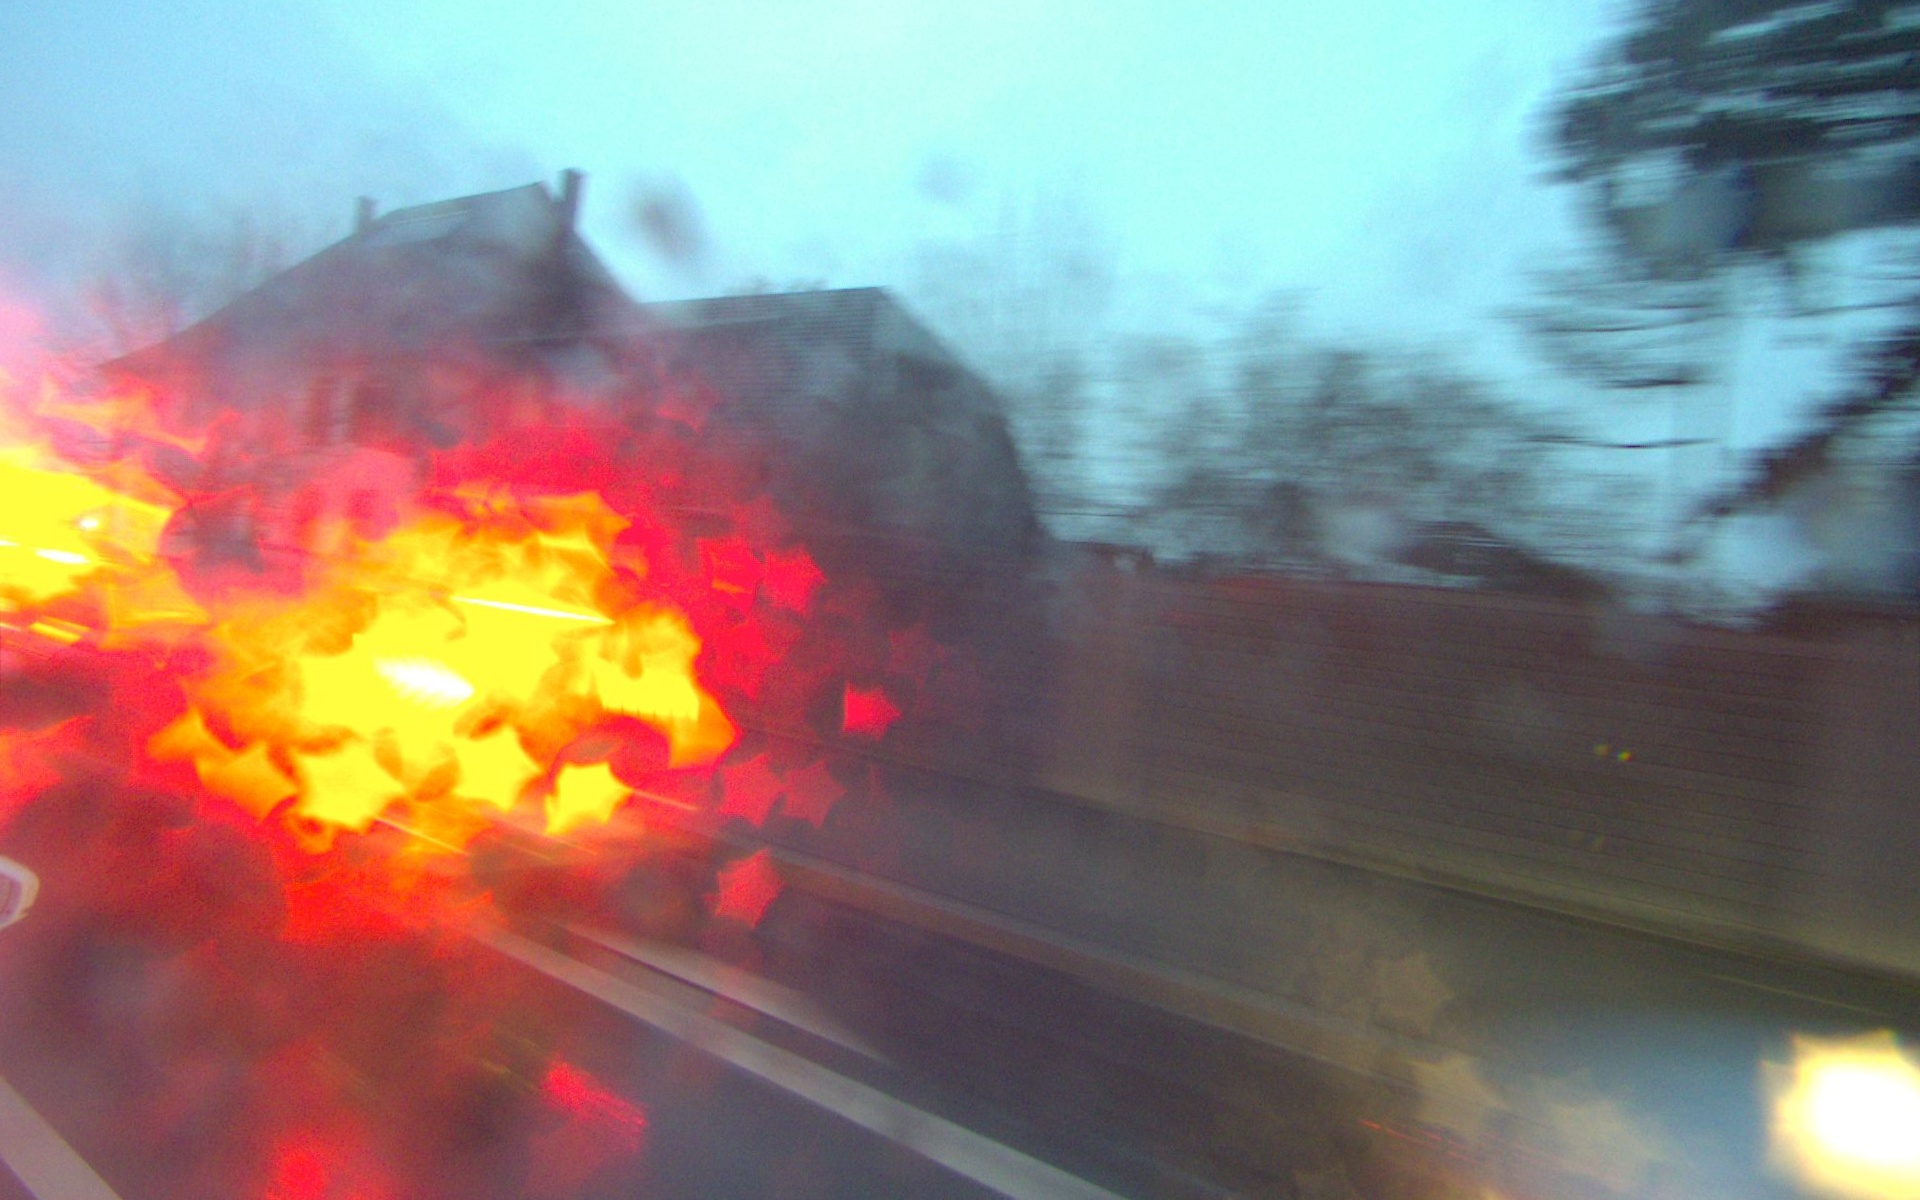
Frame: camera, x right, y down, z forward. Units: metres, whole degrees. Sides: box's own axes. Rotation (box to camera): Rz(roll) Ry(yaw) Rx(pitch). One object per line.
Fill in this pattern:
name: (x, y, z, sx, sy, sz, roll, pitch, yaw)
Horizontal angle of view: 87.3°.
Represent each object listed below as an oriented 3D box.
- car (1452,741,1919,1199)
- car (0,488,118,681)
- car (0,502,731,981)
car: (2.888, 1.208, 1.040, 4.201, 1.351, 1.656, 7, -1, 32)
car: (-10.009, -0.372, 9.391, 4.428, 1.586, 1.840, 7, -2, 31)
car: (-3.440, 0.469, 5.364, 4.201, 1.488, 1.705, 7, -2, 32)
